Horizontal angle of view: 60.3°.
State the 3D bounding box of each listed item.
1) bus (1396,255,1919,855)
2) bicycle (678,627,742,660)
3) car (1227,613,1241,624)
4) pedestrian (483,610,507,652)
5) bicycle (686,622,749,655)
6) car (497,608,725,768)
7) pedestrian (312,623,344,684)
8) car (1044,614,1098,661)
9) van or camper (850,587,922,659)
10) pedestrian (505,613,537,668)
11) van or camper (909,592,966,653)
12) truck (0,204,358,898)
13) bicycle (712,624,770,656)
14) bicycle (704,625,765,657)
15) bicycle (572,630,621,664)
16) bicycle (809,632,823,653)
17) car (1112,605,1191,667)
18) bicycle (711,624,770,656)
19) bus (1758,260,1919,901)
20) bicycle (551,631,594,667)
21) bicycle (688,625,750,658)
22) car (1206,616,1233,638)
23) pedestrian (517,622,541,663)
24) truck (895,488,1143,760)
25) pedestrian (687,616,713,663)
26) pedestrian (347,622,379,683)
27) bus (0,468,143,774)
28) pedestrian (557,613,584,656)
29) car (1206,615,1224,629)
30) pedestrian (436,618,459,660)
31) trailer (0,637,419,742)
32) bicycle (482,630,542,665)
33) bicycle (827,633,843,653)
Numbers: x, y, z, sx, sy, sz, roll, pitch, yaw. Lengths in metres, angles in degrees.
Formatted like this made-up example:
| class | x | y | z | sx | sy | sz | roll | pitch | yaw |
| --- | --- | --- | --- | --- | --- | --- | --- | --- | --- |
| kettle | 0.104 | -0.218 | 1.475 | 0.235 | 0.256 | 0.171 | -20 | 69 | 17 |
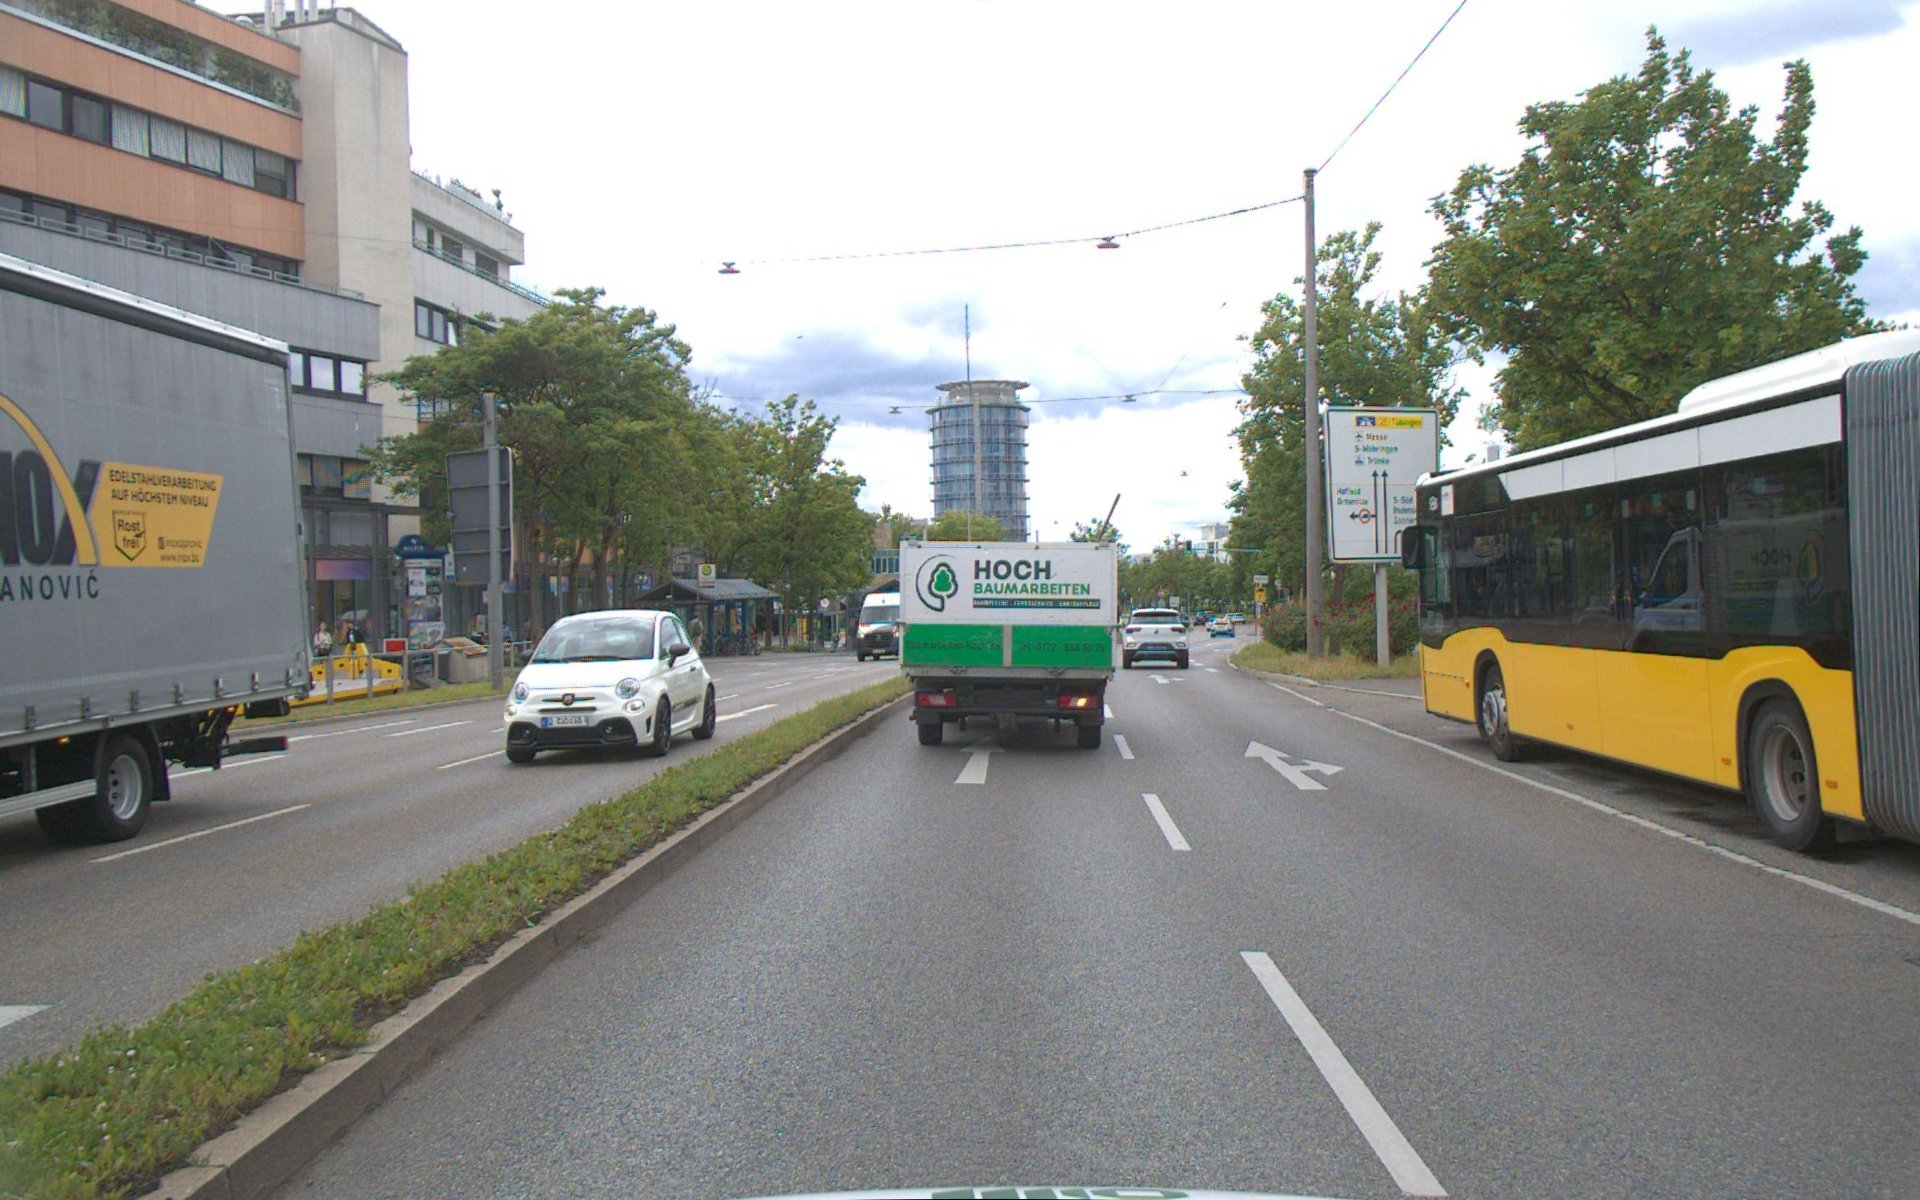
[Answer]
| class | x | y | z | sx | sy | sz | roll | pitch | yaw |
| --- | --- | --- | --- | --- | --- | --- | --- | --- | --- |
| bus | 6.440 | -0.193 | 14.046 | 2.921 | 3.298 | 9.866 | 2 | 0 | 1 |
| bicycle | -11.841 | 2.040 | 78.334 | 2.838 | 1.533 | 0.973 | 0 | -1 | 4 |
| car | 40.669 | 2.693 | 245.238 | 1.951 | 1.579 | 4.003 | -2 | -1 | 9 |
| pedestrian | -18.066 | 1.193 | 64.205 | 0.652 | 1.611 | 0.707 | 1 | -1 | 6 |
| bicycle | -11.635 | 1.845 | 79.375 | 2.838 | 1.533 | 0.892 | -2 | -1 | 4 |
| car | -3.650 | 0.863 | 17.901 | 1.555 | 1.528 | 3.719 | -1 | 0 | 2 |
| pedestrian | -17.088 | 1.447 | 44.733 | 0.586 | 1.601 | 0.620 | -2 | -1 | 2 |
| car | 3.983 | 1.303 | 59.105 | 1.828 | 1.531 | 4.775 | -1 | 0 | 4 |
| van or camper | -2.873 | 0.900 | 66.034 | 1.952 | 2.643 | 6.119 | -3 | -1 | 5 |
| pedestrian | -14.259 | 1.311 | 53.751 | 0.759 | 1.743 | 0.707 | 1 | -1 | 6 |
| van or camper | -1.009 | 1.039 | 78.296 | 1.989 | 2.643 | 6.119 | -3 | -1 | 5 |
| truck | -6.982 | -0.267 | 10.105 | 2.877 | 4.027 | 9.167 | -1 | 0 | 2 |
| bicycle | -11.193 | 2.043 | 84.428 | 2.838 | 1.533 | 0.599 | -2 | -1 | 4 |
| bicycle | -11.162 | 2.023 | 81.772 | 2.838 | 1.533 | 0.806 | -2 | -1 | 4 |
| bicycle | -13.175 | 1.705 | 59.945 | 0.594 | 1.181 | 1.679 | -2 | -1 | 42 |
| bicycle | -8.237 | 2.428 | 94.592 | 0.699 | 1.156 | 1.955 | -2 | -1 | -2 |
| car | 5.172 | 0.935 | 45.125 | 1.828 | 1.531 | 4.775 | -1 | 0 | 3 |
| bicycle | -11.074 | 2.037 | 83.495 | 2.838 | 1.533 | 0.701 | -2 | -1 | 4 |
| bus | 6.387 | -0.158 | 5.457 | 2.973 | 3.292 | 9.338 | -2 | 0 | 1 |
| bicycle | -13.732 | 1.720 | 58.589 | 0.590 | 1.181 | 1.966 | -2 | 0 | 15 |
| bicycle | -11.810 | 2.016 | 81.120 | 2.838 | 1.533 | 0.806 | -2 | -1 | 4 |
| car | 20.181 | 2.090 | 128.715 | 1.951 | 1.579 | 4.003 | -2 | -1 | 7 |
| pedestrian | -18.479 | 1.823 | 70.977 | 0.754 | 1.746 | 0.790 | 1 | -1 | 3 |
| truck | 0.791 | 0.229 | 19.511 | 2.419 | 2.657 | 6.551 | 0 | 0 | 4 |
| pedestrian | -10.453 | 1.576 | 66.510 | 0.688 | 1.854 | 1.214 | 0 | -2 | 9 |
| pedestrian | -16.135 | 1.412 | 44.730 | 0.586 | 1.601 | 0.620 | -2 | -1 | 2 |
| bus | -14.219 | 0.270 | 15.130 | 3.798 | 3.927 | 19.340 | -2 | 0 | 0 |
| pedestrian | -15.963 | 1.426 | 67.801 | 0.759 | 1.746 | 0.785 | 0 | -1 | 29 |
| car | 28.914 | 2.483 | 187.425 | 1.951 | 1.579 | 4.003 | -2 | -1 | 9 |
| pedestrian | -19.795 | 1.507 | 63.875 | 0.623 | 1.628 | 0.619 | 0 | -1 | 43 |
| trailer | -13.753 | 1.527 | 31.657 | 2.782 | 1.356 | 12.125 | -2 | 0 | 0 |
| bicycle | -16.186 | 1.725 | 59.804 | 1.999 | 1.181 | 0.664 | -1 | -1 | -40 |
| bicycle | -7.150 | 2.453 | 94.516 | 0.813 | 1.103 | 1.935 | -2 | -1 | -1 |
